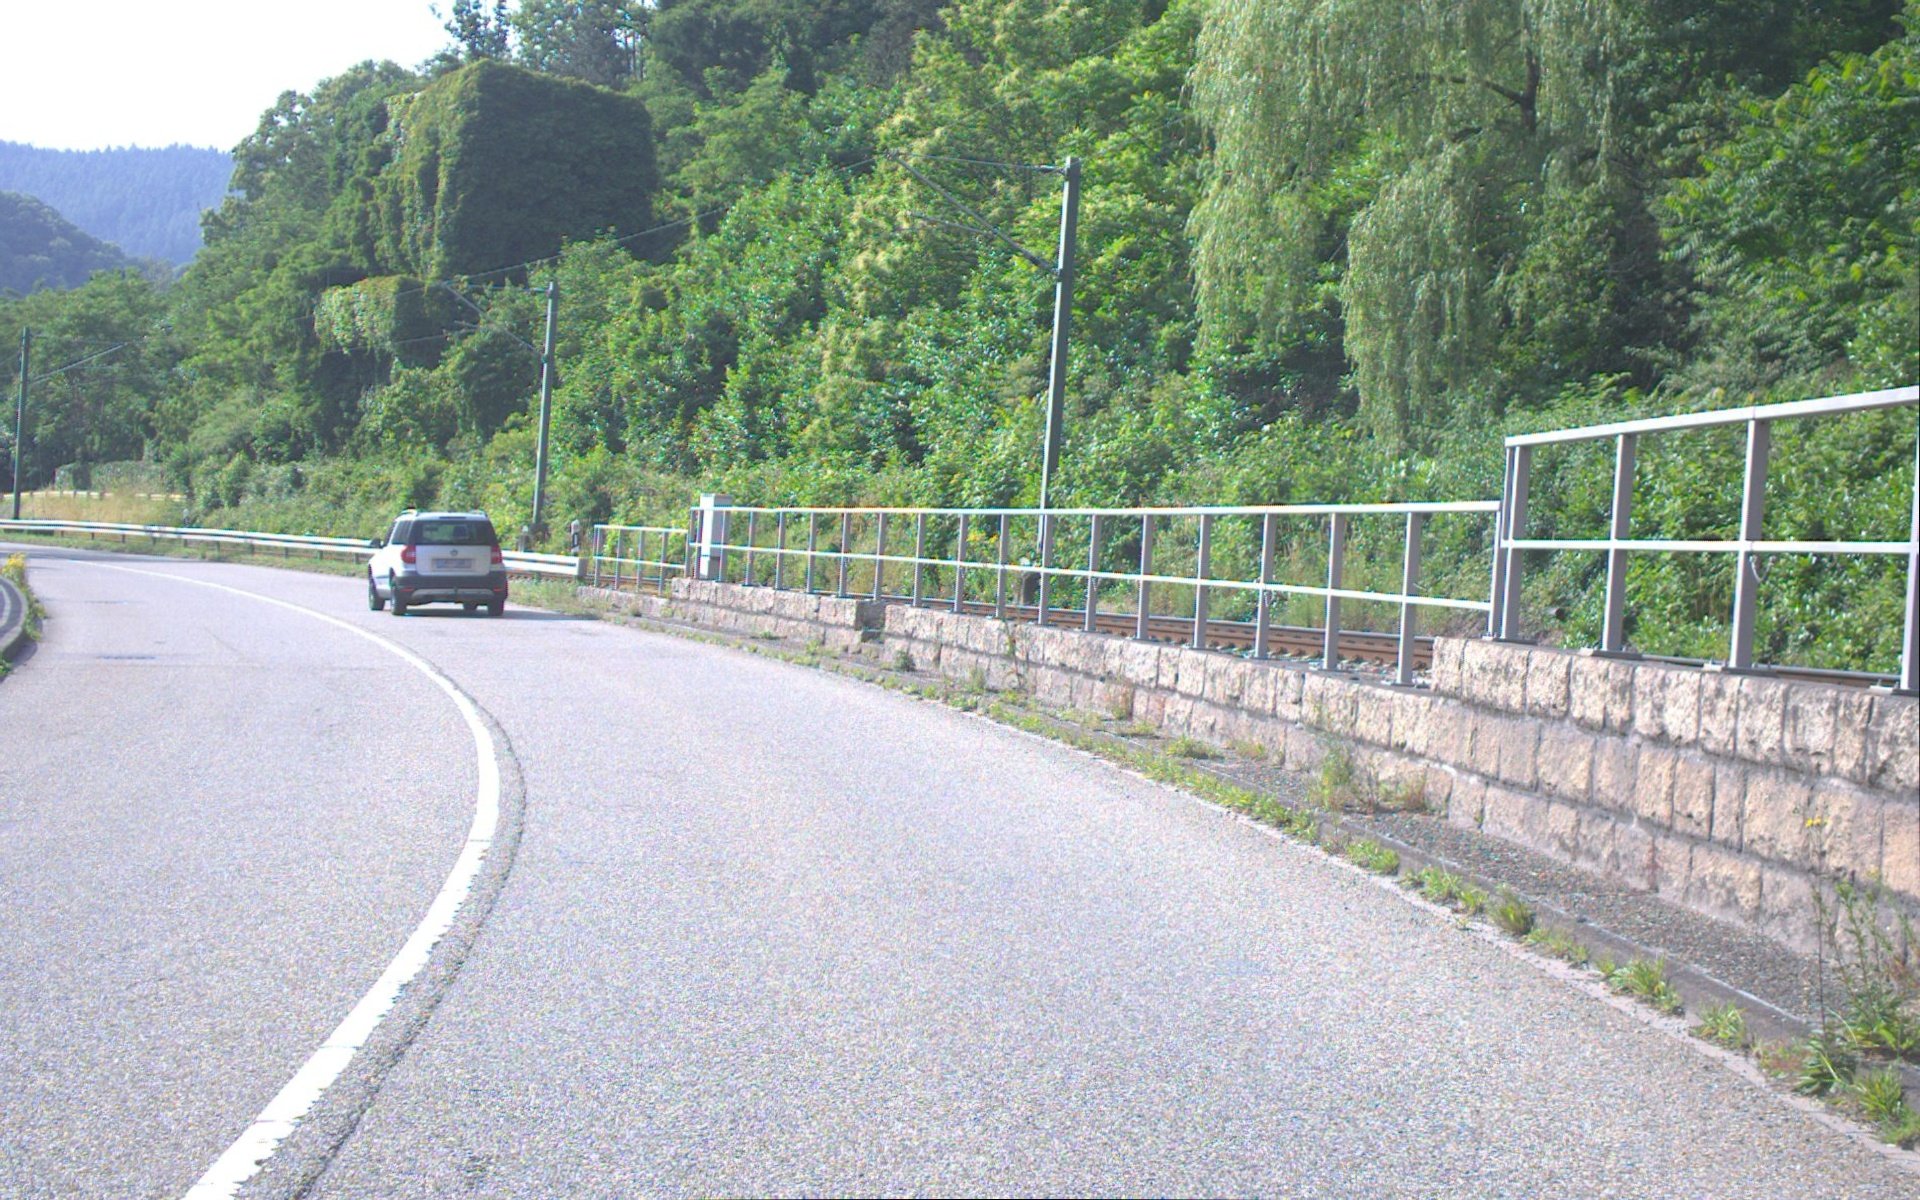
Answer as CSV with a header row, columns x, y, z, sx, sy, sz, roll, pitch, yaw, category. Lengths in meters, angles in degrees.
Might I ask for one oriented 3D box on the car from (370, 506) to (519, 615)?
x,y,z,sx,sy,sz,roll,pitch,yaw,category
-8.305,-0.662,55.154,1.872,1.650,4.001,1,1,-15,car
